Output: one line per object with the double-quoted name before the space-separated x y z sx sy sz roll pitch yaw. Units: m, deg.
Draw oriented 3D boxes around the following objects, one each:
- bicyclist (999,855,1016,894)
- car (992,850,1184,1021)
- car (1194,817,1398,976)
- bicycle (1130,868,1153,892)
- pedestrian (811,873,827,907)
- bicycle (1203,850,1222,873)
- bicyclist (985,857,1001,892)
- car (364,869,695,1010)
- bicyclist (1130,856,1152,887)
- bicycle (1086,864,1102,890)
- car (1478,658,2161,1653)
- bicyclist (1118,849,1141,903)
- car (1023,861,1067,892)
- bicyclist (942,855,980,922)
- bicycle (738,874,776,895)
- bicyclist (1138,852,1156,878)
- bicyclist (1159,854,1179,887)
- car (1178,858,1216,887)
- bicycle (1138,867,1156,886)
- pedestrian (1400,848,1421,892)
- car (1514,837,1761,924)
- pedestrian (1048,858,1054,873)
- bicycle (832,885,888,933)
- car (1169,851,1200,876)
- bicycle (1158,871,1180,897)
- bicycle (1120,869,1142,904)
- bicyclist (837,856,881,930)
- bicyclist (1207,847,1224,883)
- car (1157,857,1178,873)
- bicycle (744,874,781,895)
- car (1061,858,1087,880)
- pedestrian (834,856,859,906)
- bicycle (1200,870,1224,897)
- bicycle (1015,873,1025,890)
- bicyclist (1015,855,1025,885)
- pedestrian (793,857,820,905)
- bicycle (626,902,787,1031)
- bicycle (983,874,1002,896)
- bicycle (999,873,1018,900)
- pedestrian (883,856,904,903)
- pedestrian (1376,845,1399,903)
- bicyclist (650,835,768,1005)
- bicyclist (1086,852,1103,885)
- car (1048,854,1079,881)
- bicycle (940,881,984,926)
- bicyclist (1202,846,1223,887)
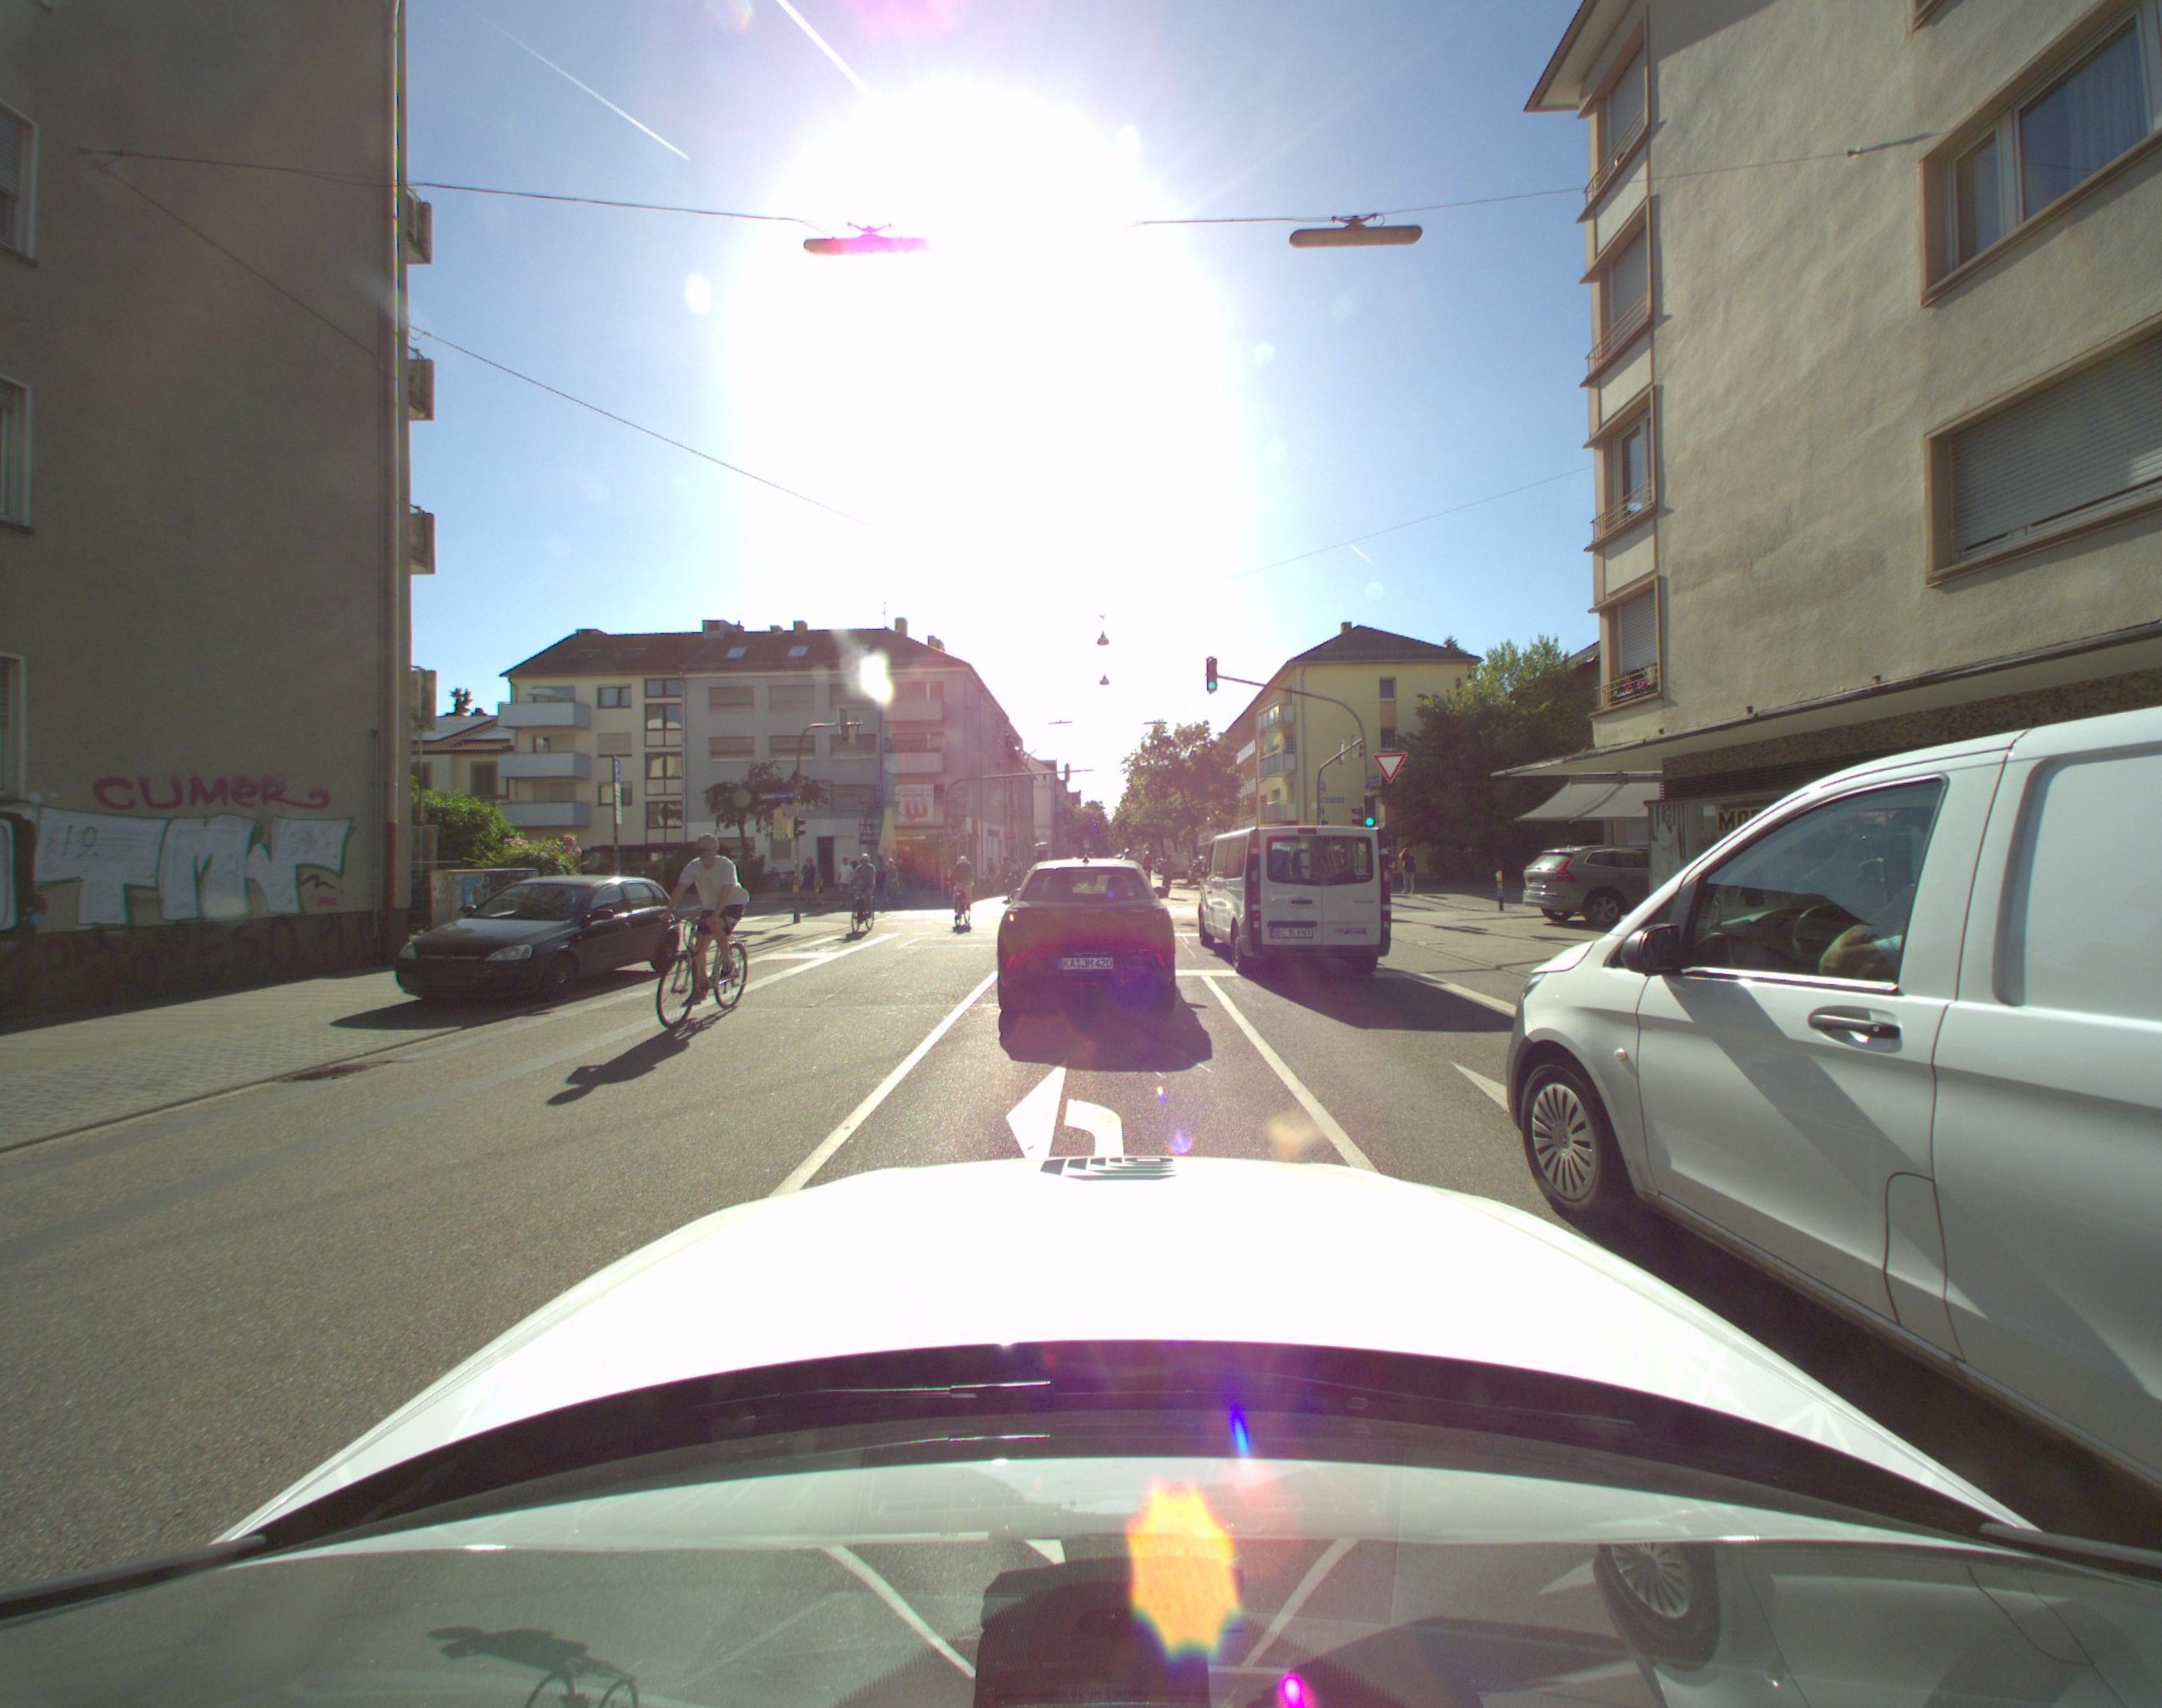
"bicyclist" -2.659 0.730 29.635 0.541 1.391 0.788 -1 0 -2
"car" 0.128 0.778 9.552 1.756 1.558 4.001 -1 -1 2
"car" 3.002 0.550 12.559 1.961 1.940 5.057 0 -1 2
"bicycle" 2.592 1.107 35.150 0.853 0.945 2.308 1 0 2
"pedestrian" -9.130 1.254 28.371 0.384 1.146 0.531 -1 -1 -3
"bicycle" 5.247 0.297 32.600 0.544 0.866 1.878 -1 0 3
"bicyclist" -3.866 0.906 35.749 0.540 1.520 0.774 -1 -1 2
"car" -6.905 0.968 10.785 1.685 1.448 3.856 1 0 0
"bicyclist" 2.592 0.754 35.213 0.853 1.314 1.211 1 0 1
"bicycle" 0.666 1.128 40.936 0.798 1.255 2.139 -1 0 1
"car" 2.940 0.538 1.622 1.961 1.810 4.833 -1 -1 1
"bicyclist" 1.523 0.687 25.792 0.630 1.669 1.051 -2 -1 1
"car" -1.755 1.087 40.914 1.830 1.433 4.179 -1 0 2
"bicyclist" -2.906 0.826 19.801 0.677 1.576 0.899 -3 -1 2
"bicycle" -15.343 1.449 38.624 1.582 0.940 0.513 -1 0 3
"bicyclist" 3.527 0.583 43.550 0.853 1.314 1.211 1 0 1
"bicyclist" 3.222 0.597 29.814 0.689 1.193 0.595 -1 0 3
"car" 6.377 0.985 45.048 1.706 1.483 3.482 -1 0 2
"bicycle" 3.508 1.197 43.532 0.853 0.945 2.308 1 0 2
"pedestrian" 11.928 0.564 29.500 0.537 1.571 0.539 -1 -1 1
"car" 11.652 0.537 17.264 3.972 1.662 1.826 -1 0 2
"pedestrian" -3.374 1.283 91.141 0.575 1.583 0.707 -1 -1 -4
"bicycle" -5.044 1.229 18.718 0.677 0.952 1.934 -3 0 2
"car" 7.941 0.715 62.827 2.037 1.846 4.589 -1 0 4
"bicycle" 3.215 1.083 29.793 0.688 0.866 1.878 -1 0 3
"bicycle" 1.584 1.033 26.154 0.630 1.041 1.796 -2 0 2
"bicyclist" -5.073 0.880 18.651 0.677 1.630 0.899 -3 -1 2
"bicyclist" 5.292 0.425 32.097 0.544 1.382 0.823 -1 0 3
"car" 8.071 0.997 75.971 1.706 1.483 3.383 -1 0 2
"bicycle" -15.357 1.456 39.243 1.582 0.940 0.513 -1 0 3
"car" -0.499 1.058 59.454 1.799 1.413 4.424 -3 0 -1
"pedestrian" -8.050 0.919 28.004 0.570 1.689 0.671 -1 -1 7
"bicycle" 4.608 1.030 28.695 0.617 0.866 1.878 -1 0 3
"bicycle" -3.246 1.441 43.249 0.552 0.833 2.127 0 0 -5
"bicyclist" -3.237 0.853 43.241 0.552 1.549 0.813 0 -1 -5
"pedestrian" -9.673 0.937 28.706 0.571 1.683 0.969 -1 -1 2
"bicycle" -3.754 1.079 8.367 0.714 1.064 1.873 -2 -1 2
"bicycle" -3.855 1.336 35.674 0.540 0.902 1.827 -1 0 2
"bicycle" -2.636 1.170 29.644 0.541 0.902 1.825 -1 0 -1
"pedestrian" -6.366 0.851 27.683 0.528 1.581 0.564 -1 -1 7
"pedestrian" 9.753 0.630 25.925 0.599 1.822 0.631 -1 -1 15
"bicyclist" -3.768 0.643 8.321 0.714 1.620 0.946 -2 -1 2
"bicyclist" 0.674 0.718 41.228 0.798 1.649 1.125 -1 -1 1
"car" -1.051 0.810 50.696 1.586 1.566 4.091 -2 -1 2
"bicycle" -2.887 1.185 19.895 0.677 0.952 1.934 -3 0 2
"bicyclist" 4.583 0.432 28.410 0.586 1.382 0.823 -1 0 3
